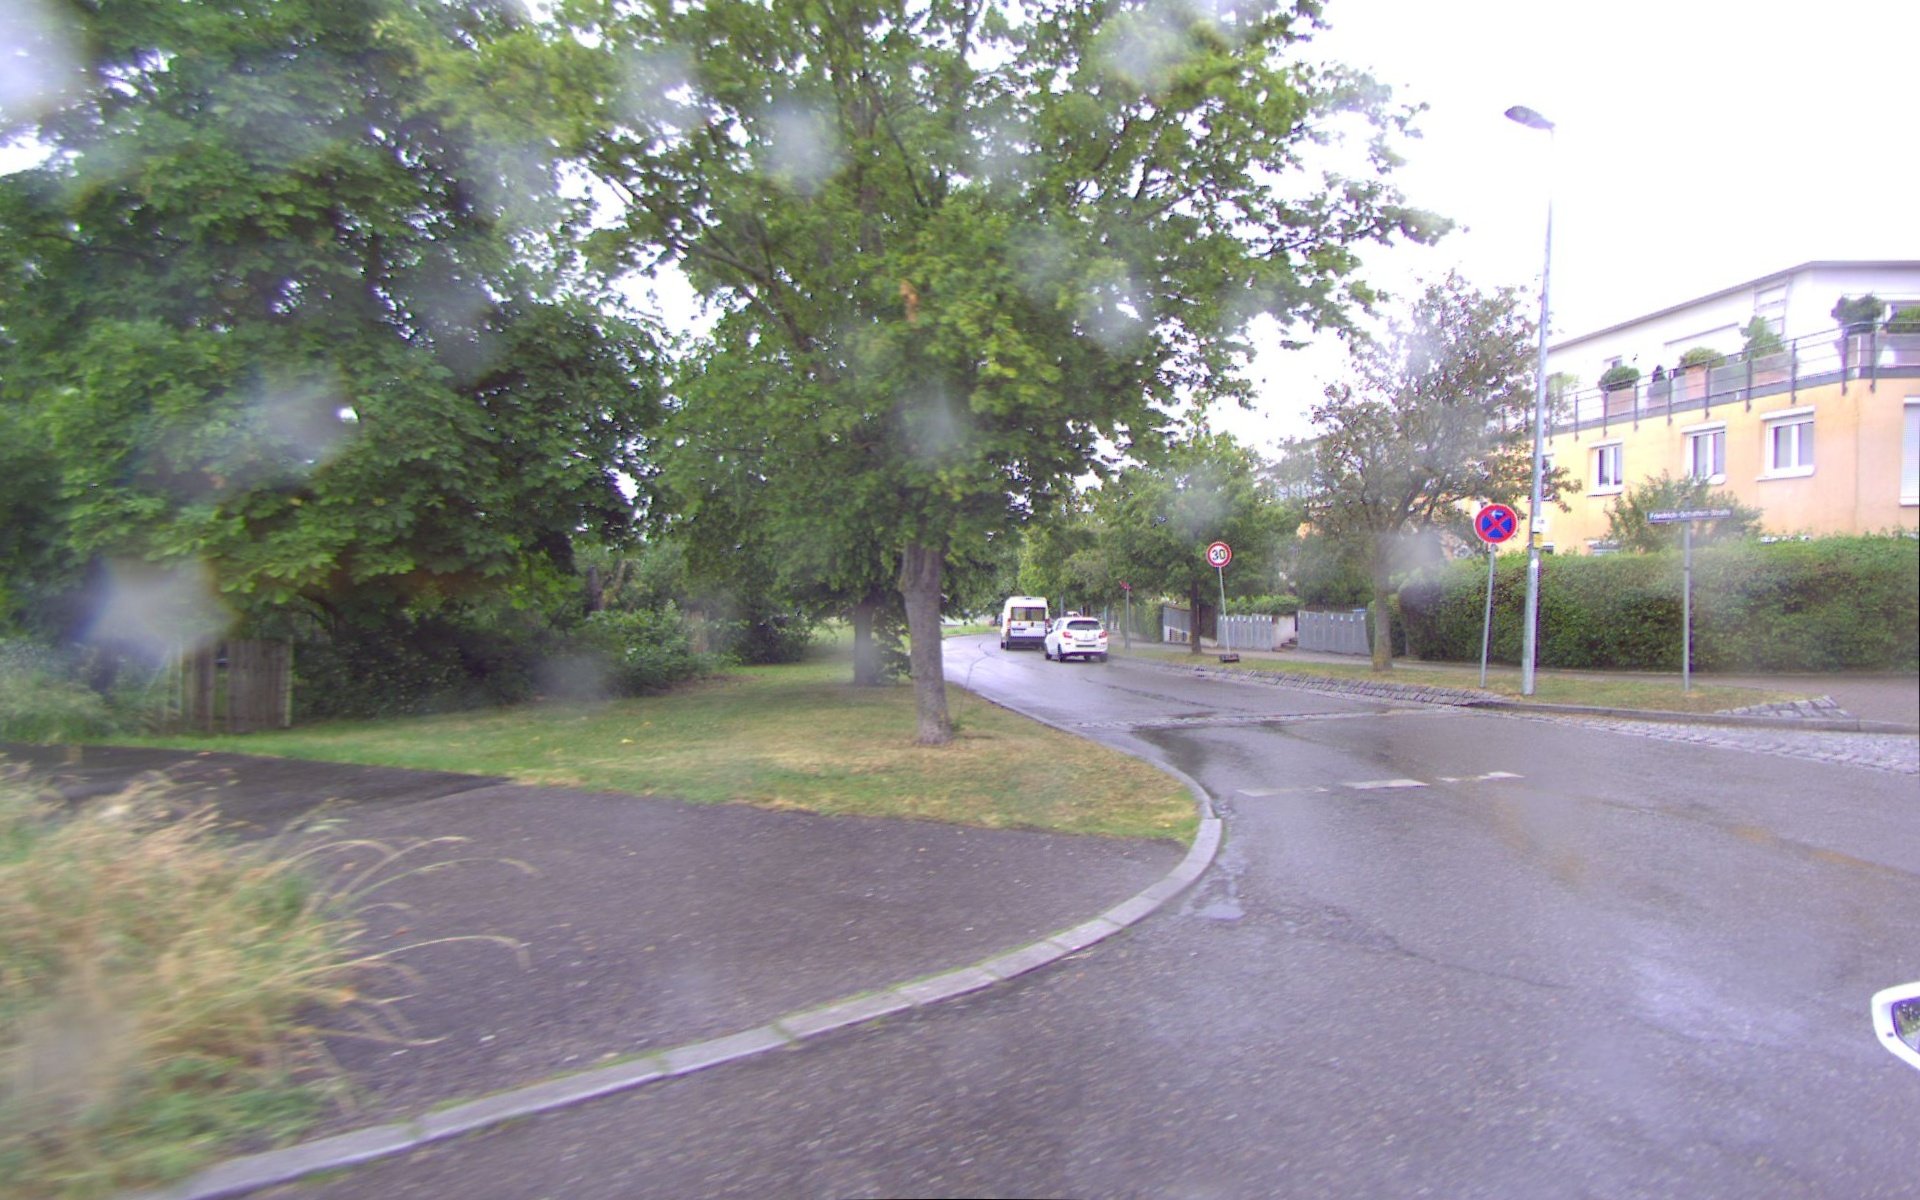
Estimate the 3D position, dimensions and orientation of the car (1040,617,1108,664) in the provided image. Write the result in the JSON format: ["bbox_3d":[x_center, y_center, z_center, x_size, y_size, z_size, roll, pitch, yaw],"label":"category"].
[{"bbox_3d":[3.881,1.364,34.715,1.580,1.522,3.723,0,-1,-6],"label":"car"}]

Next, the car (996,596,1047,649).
[{"bbox_3d":[3.010,1.121,50.143,2.083,2.500,5.509,0,-1,-2],"label":"car"}]

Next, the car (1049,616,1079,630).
[{"bbox_3d":[13.178,2.911,127.336,3.502,1.627,1.693,-2,-1,18],"label":"car"}]
